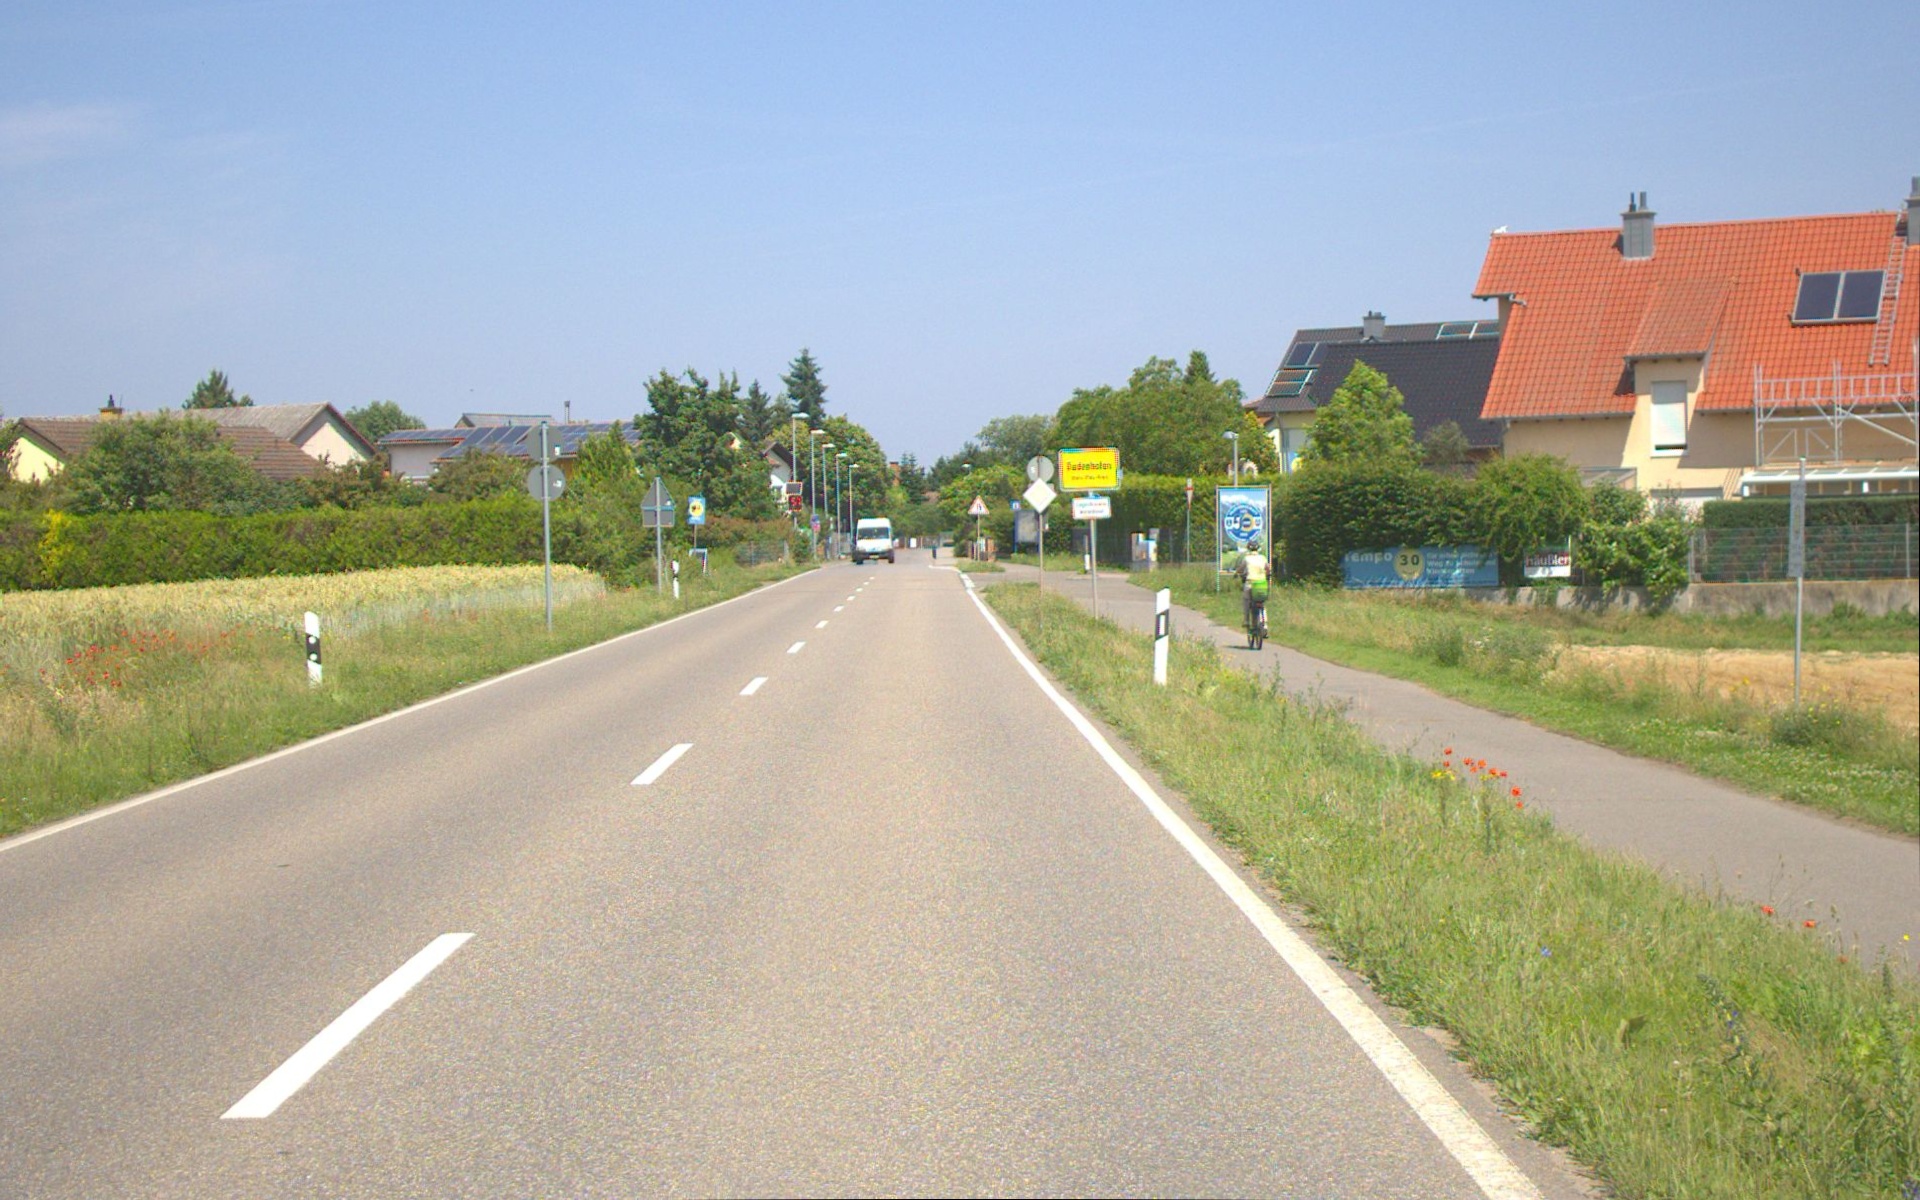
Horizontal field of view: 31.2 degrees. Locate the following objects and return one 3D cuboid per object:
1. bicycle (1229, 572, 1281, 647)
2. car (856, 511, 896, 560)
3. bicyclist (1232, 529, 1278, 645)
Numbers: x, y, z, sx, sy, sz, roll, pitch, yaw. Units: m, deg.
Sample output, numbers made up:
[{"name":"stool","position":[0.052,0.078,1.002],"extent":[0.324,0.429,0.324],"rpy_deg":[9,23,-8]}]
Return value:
[{"name":"bicycle","position":[4.871,0.142,56.878],"extent":[0.610,1.155,2.274],"rpy_deg":[0,2,-1]},{"name":"car","position":[-4.566,-3.552,188.077],"extent":[2.077,2.533,5.874],"rpy_deg":[-2,2,-1]},{"name":"bicyclist","position":[4.871,-0.214,56.766],"extent":[0.645,1.883,0.861],"rpy_deg":[0,2,-1]}]
